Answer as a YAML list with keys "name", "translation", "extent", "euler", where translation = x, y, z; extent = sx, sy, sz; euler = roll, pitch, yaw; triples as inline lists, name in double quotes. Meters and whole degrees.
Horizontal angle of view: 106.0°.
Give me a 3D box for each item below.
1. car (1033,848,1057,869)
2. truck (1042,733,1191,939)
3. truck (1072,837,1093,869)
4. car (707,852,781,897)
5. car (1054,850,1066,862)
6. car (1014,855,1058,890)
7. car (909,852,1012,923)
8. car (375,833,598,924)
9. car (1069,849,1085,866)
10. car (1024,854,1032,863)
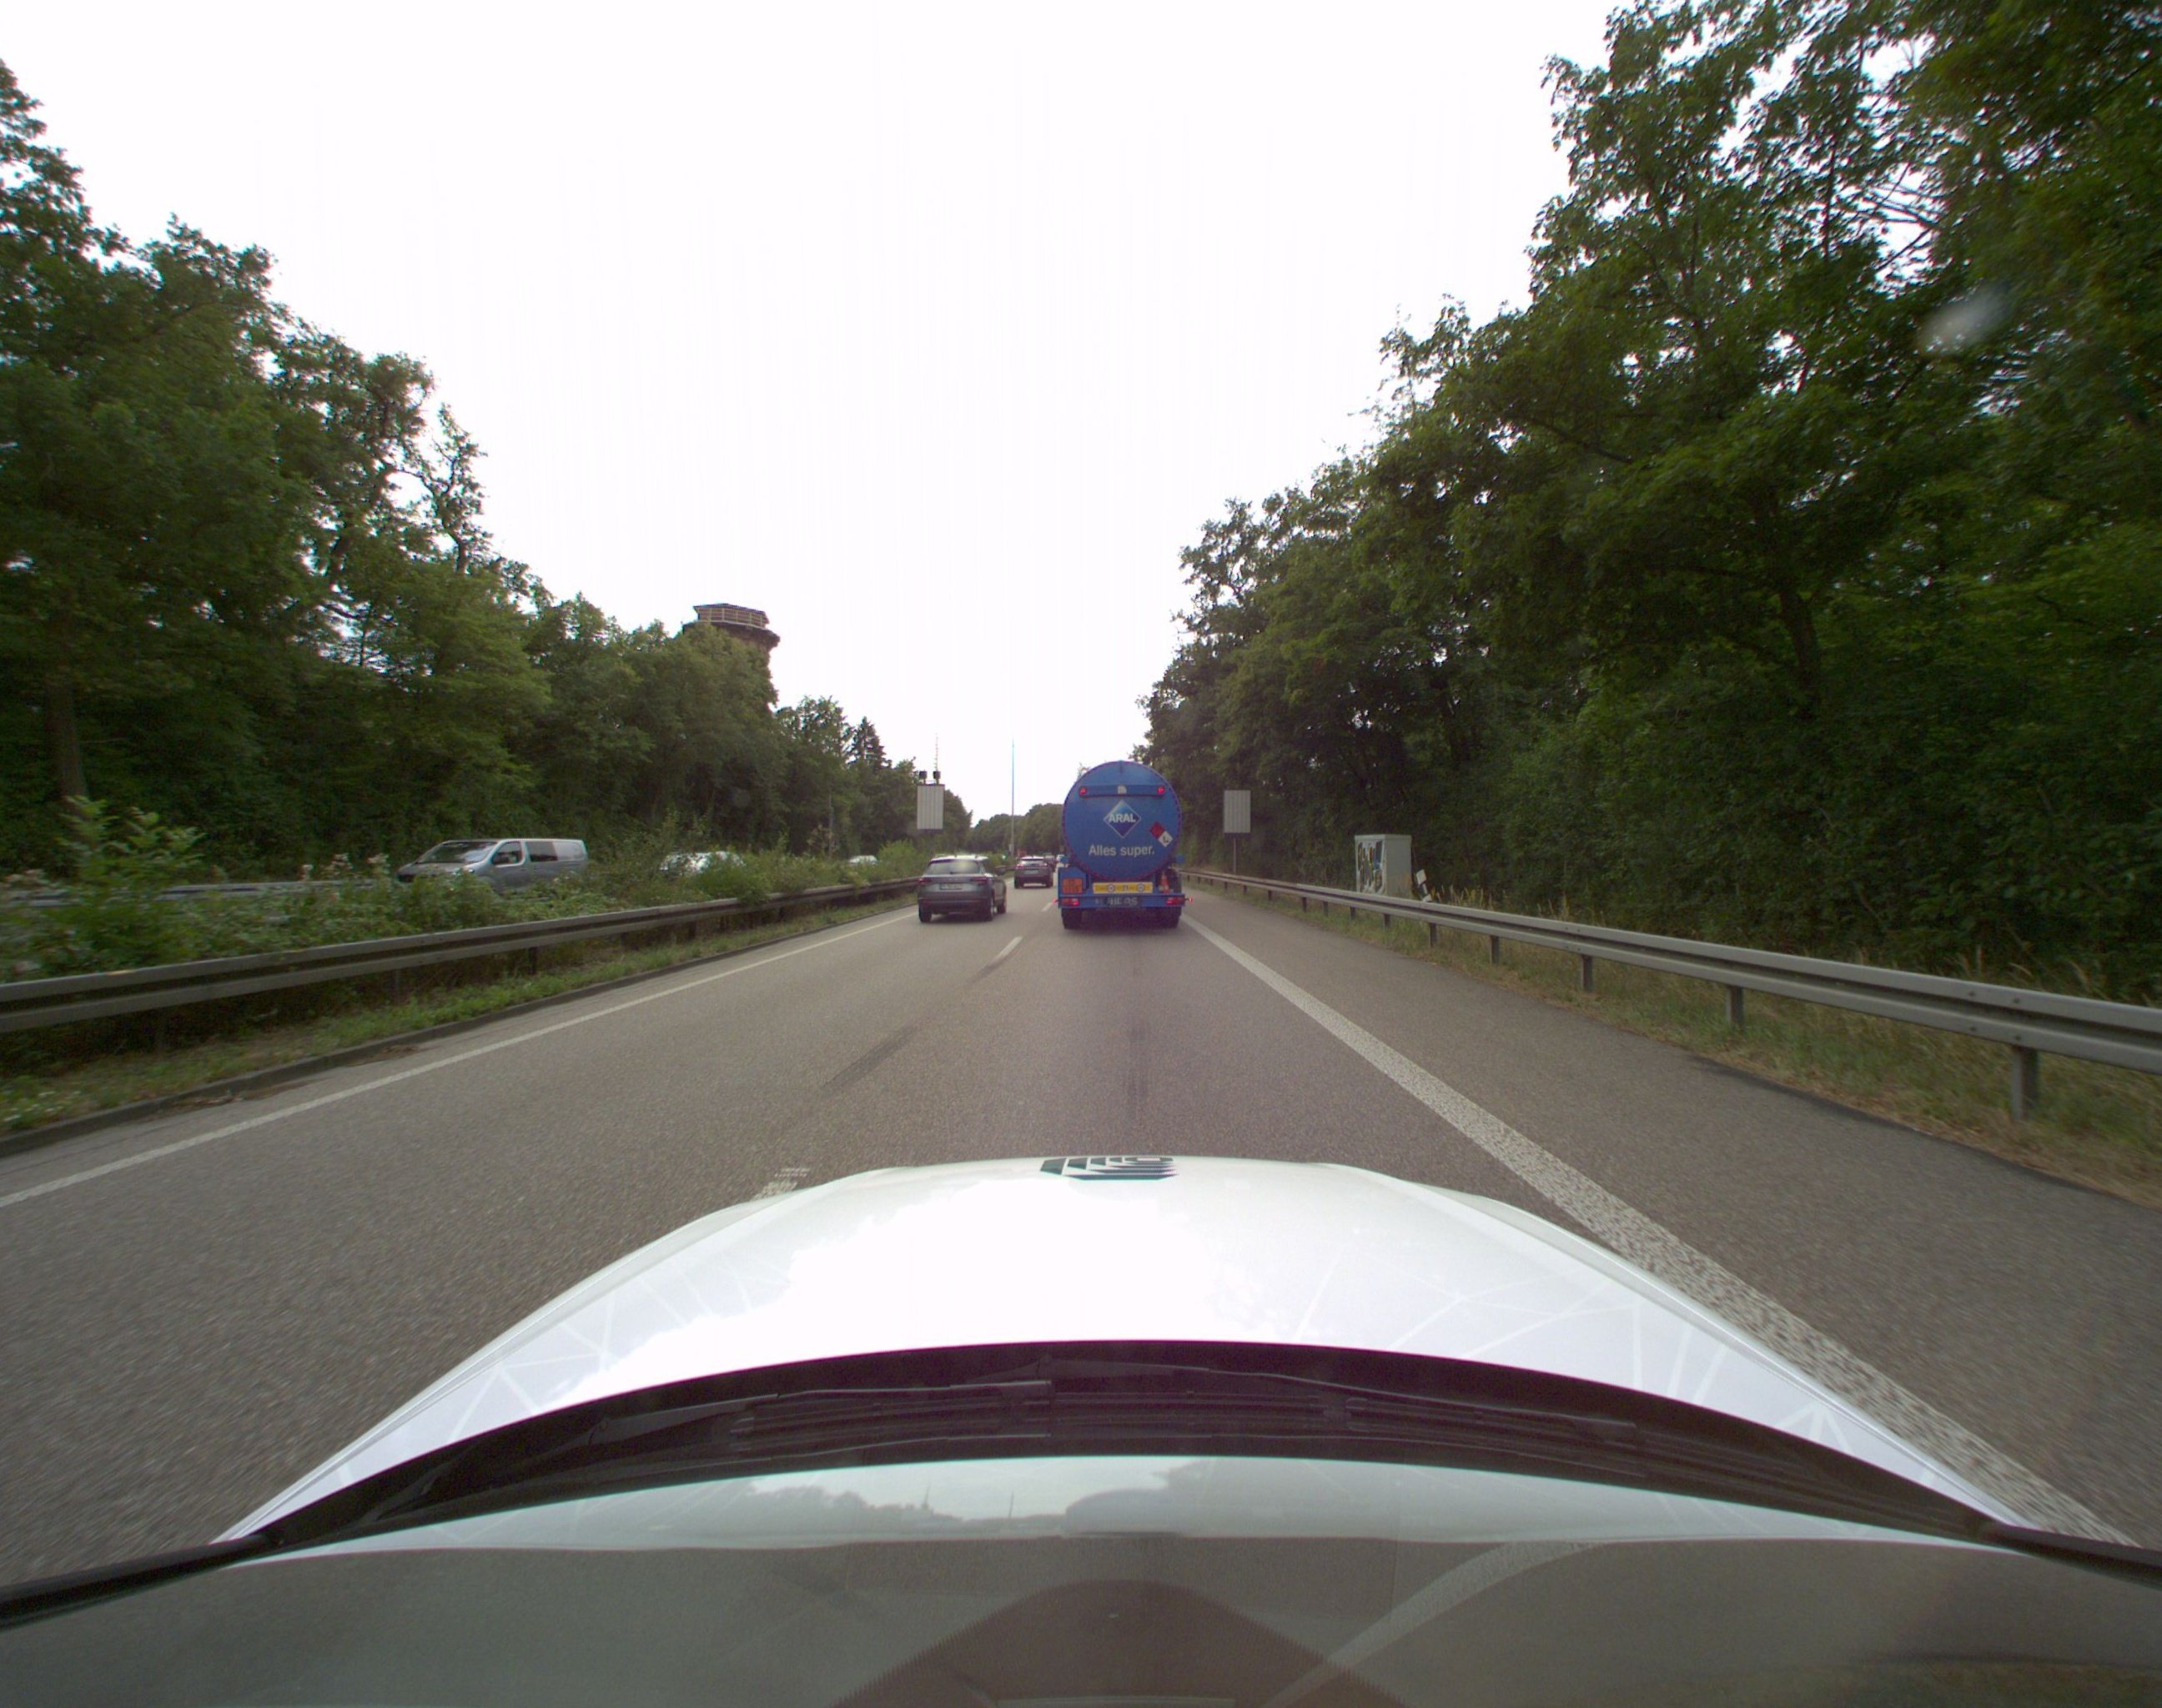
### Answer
- name: "car"
  translation: [-3.442, 0.456, 79.178]
  extent: [1.986, 2.014, 4.002]
  euler: [-1, -1, 2]
- name: "truck"
  translation: [0.817, -0.287, 19.282]
  extent: [2.745, 3.847, 7.691]
  euler: [-1, -1, 2]
- name: "truck"
  translation: [0.198, -0.034, 83.471]
  extent: [1.986, 3.093, 7.816]
  euler: [-1, -1, 1]
- name: "car"
  translation: [-16.081, 0.952, 39.042]
  extent: [1.813, 2.014, 4.000]
  euler: [-1, -1, 1]
- name: "car"
  translation: [-3.990, 0.446, 155.911]
  extent: [1.986, 2.244, 4.002]
  euler: [-1, -1, 2]
- name: "car"
  translation: [-2.223, 0.919, 40.983]
  extent: [1.819, 1.609, 4.169]
  euler: [-1, -1, 2]
- name: "car"
  translation: [-2.954, 0.798, 20.810]
  extent: [1.819, 1.609, 4.169]
  euler: [-1, -1, 2]
- name: "car"
  translation: [-15.006, 0.589, 21.054]
  extent: [1.790, 2.014, 5.303]
  euler: [-1, -1, 1]
- name: "car"
  translation: [-0.570, 0.524, 117.430]
  extent: [1.985, 2.244, 4.003]
  euler: [-1, -1, 3]
- name: "car"
  translation: [-14.049, 1.243, 216.736]
  extent: [1.990, 2.244, 3.993]
  euler: [-1, -1, -5]
